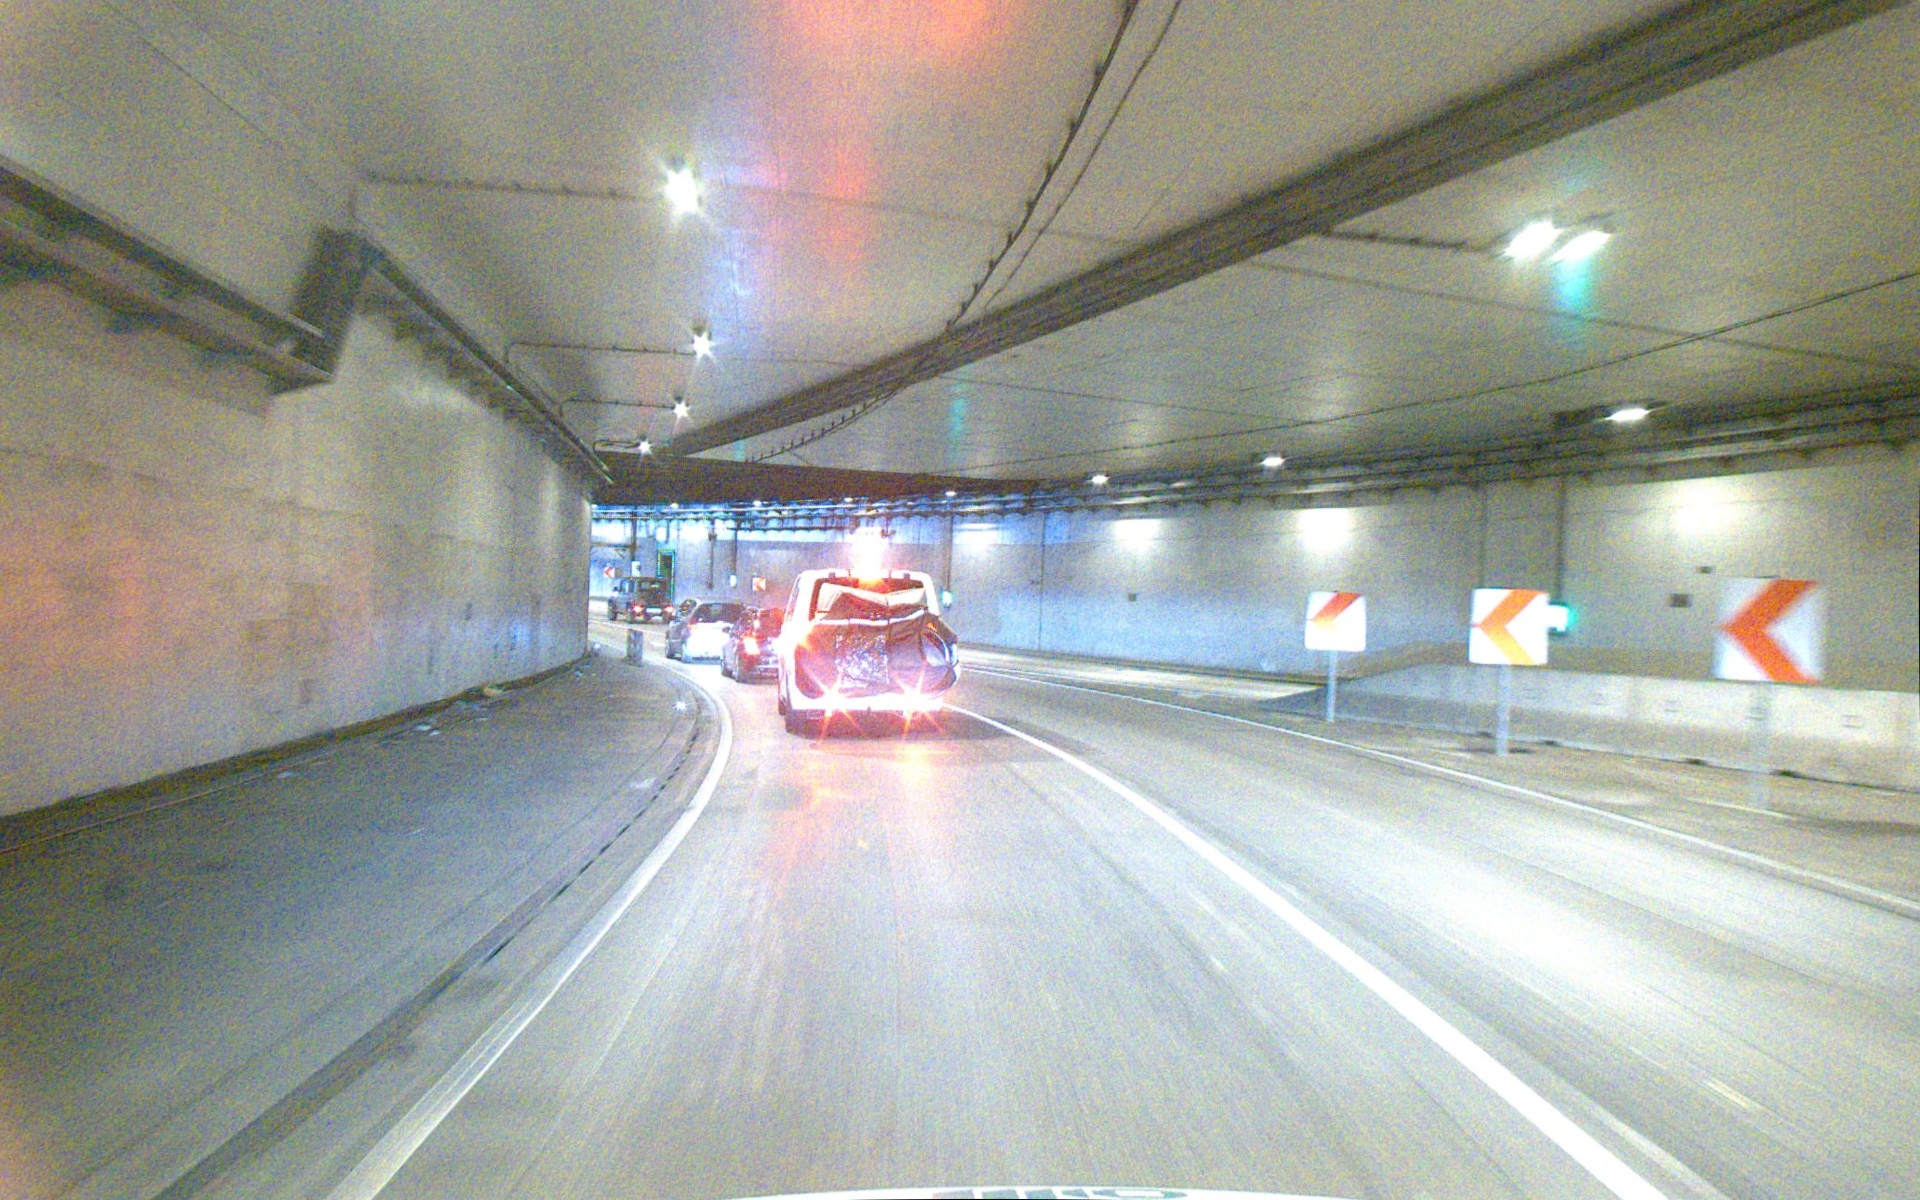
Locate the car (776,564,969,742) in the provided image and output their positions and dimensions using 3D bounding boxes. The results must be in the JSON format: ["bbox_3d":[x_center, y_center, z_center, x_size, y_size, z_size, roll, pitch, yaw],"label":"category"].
[{"bbox_3d":[-1.223,0.576,20.322,1.956,1.880,5.292,0,0,-8],"label":"car"}]

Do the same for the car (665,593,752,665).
[{"bbox_3d":[-6.190,0.710,40.493,1.577,1.622,3.340,3,-2,-17],"label":"car"}]

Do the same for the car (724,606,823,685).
[{"bbox_3d":[-3.688,0.852,32.289,1.575,1.420,3.267,1,0,-13],"label":"car"}]

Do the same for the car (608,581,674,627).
[{"bbox_3d":[-11.976,0.132,61.954,1.584,1.658,3.327,-1,1,-27],"label":"car"}]
